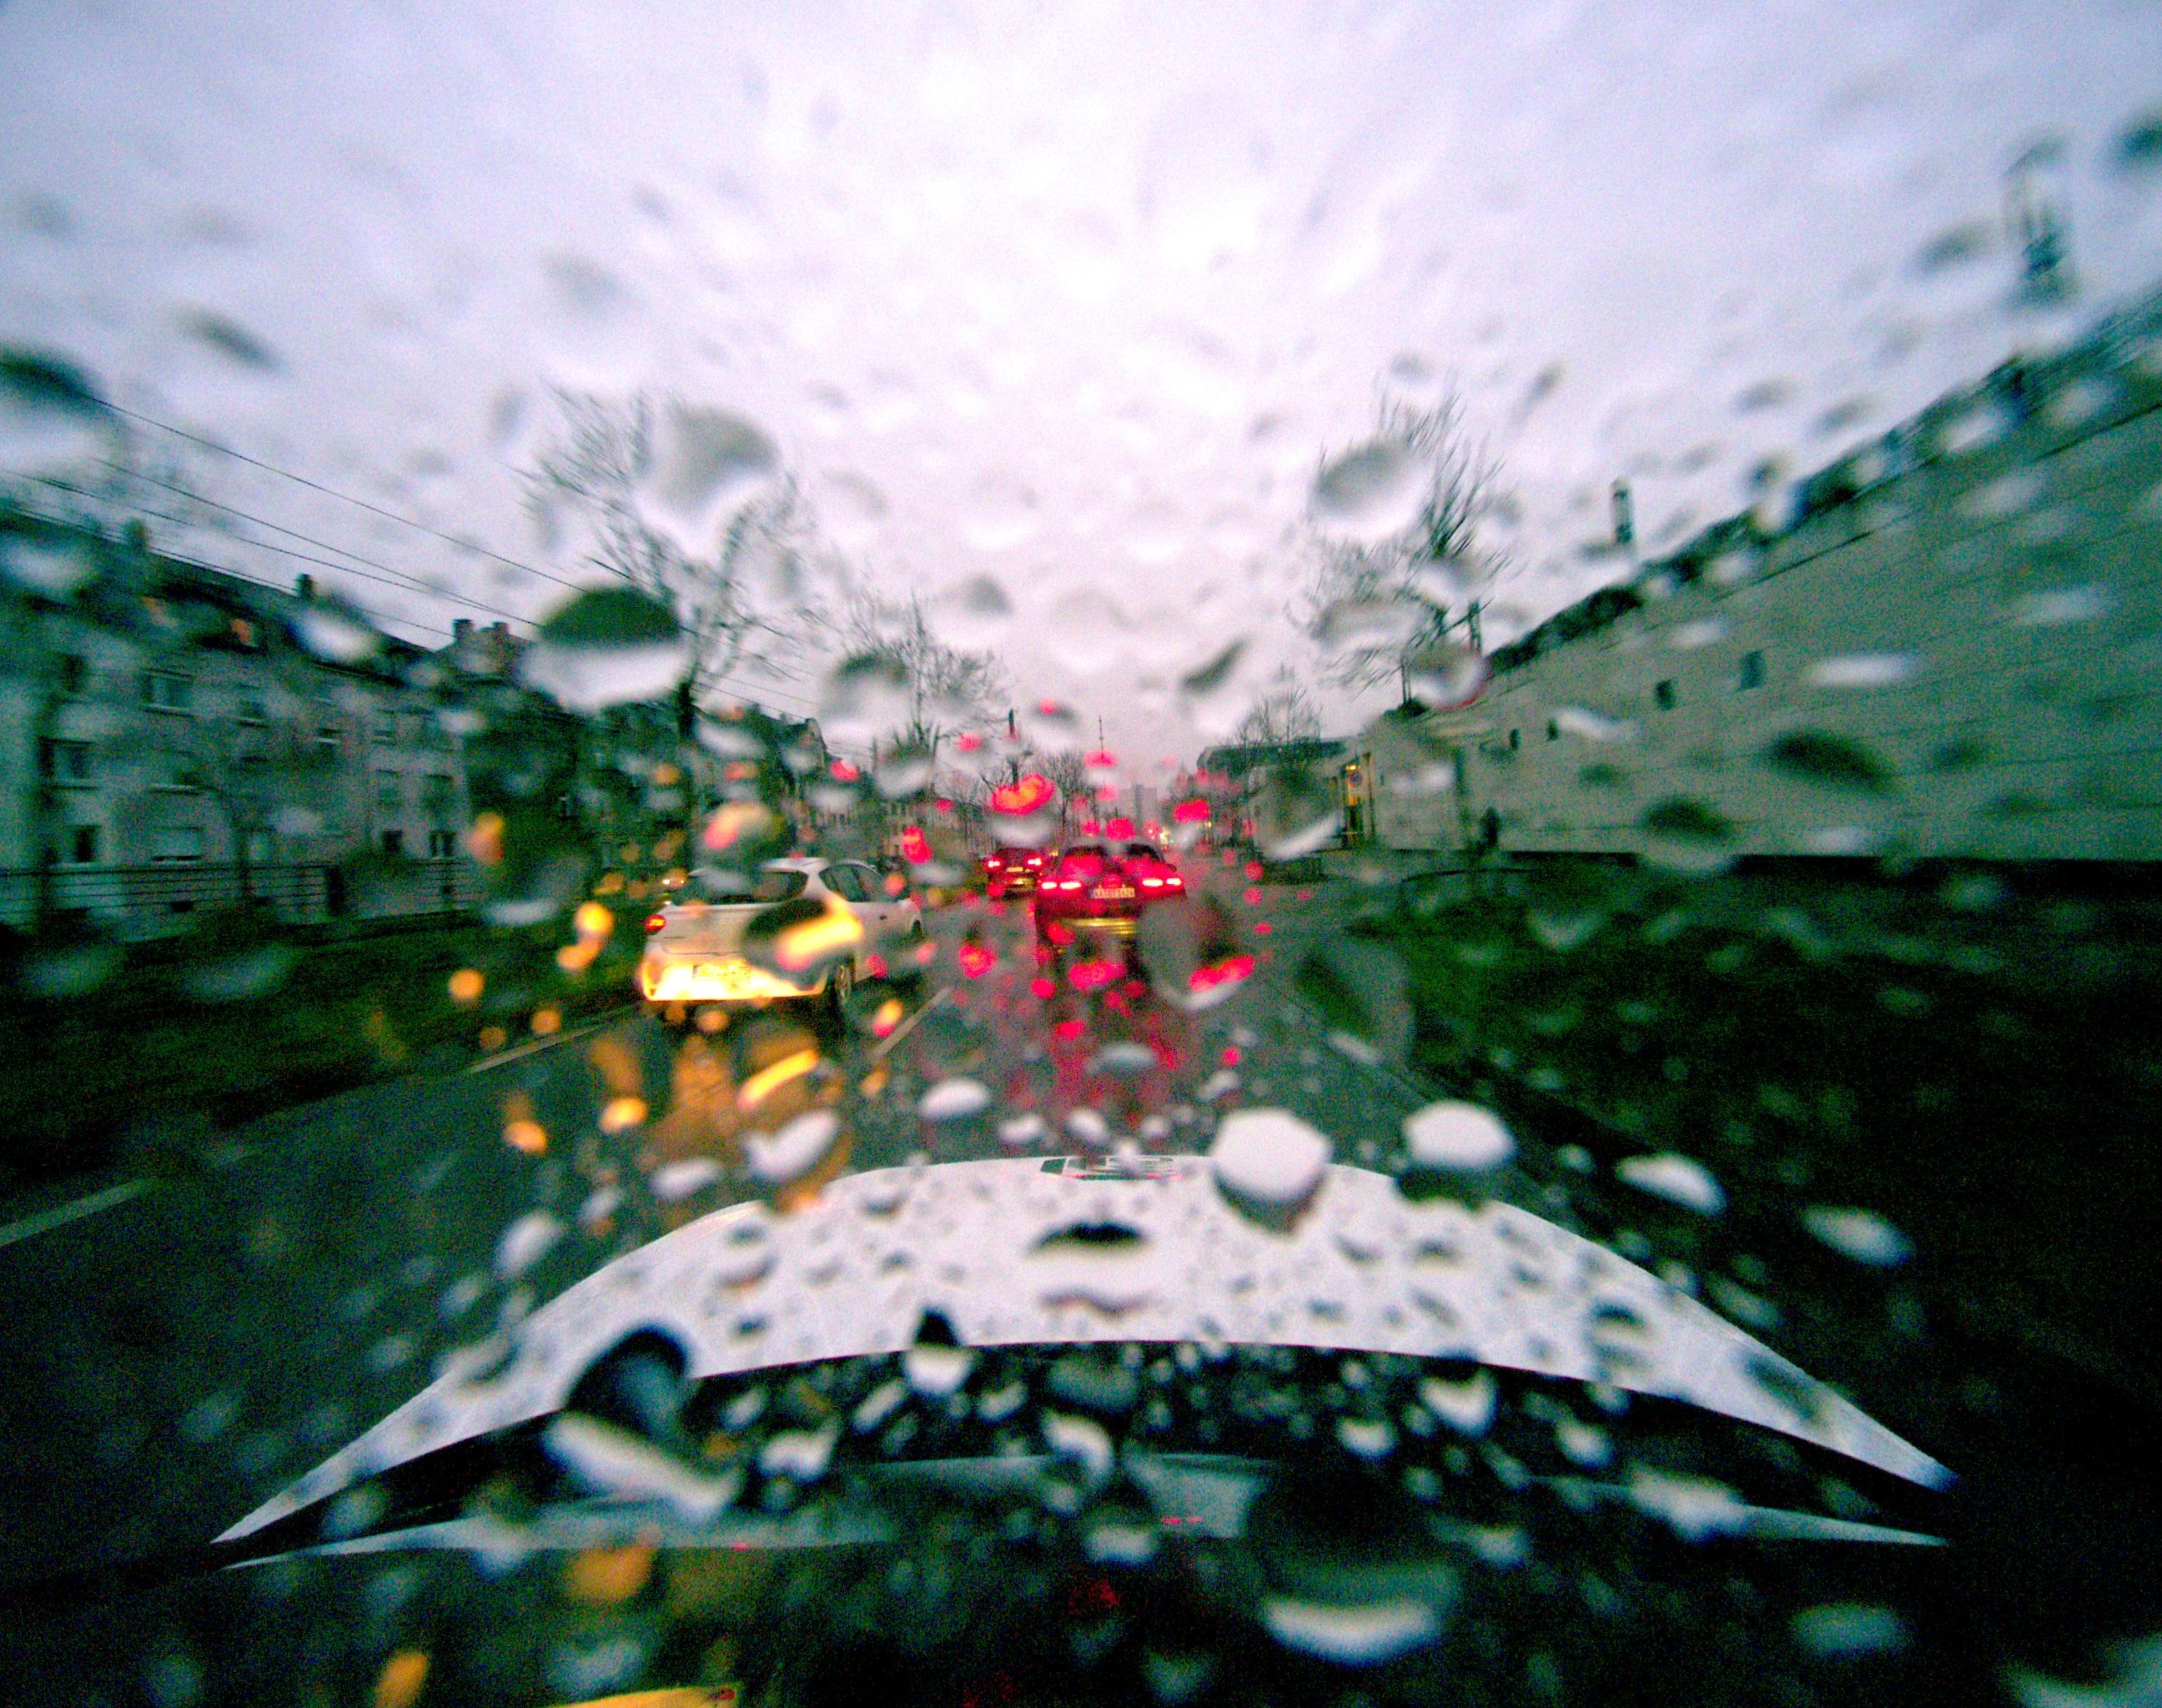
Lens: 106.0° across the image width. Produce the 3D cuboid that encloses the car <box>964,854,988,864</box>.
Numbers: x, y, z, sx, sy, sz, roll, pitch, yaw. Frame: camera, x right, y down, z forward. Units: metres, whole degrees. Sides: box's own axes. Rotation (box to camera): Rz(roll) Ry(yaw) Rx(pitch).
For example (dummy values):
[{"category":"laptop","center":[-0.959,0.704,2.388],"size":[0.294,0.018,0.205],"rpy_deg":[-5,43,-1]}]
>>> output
[{"category":"car","center":[-17.143,0.846,132.603],"size":[3.510,1.354,1.793],"rpy_deg":[-4,1,39]}]

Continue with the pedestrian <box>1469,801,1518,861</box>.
[{"category":"pedestrian","center":[11.708,-0.657,23.134],"size":[0.934,1.618,0.695],"rpy_deg":[-4,0,2]}]

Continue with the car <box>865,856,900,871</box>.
[{"category":"car","center":[-21.371,1.031,87.634],"size":[3.510,1.354,1.793],"rpy_deg":[-4,1,39]}]

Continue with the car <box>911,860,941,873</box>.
[{"category":"car","center":[-19.474,1.616,102.169],"size":[3.510,1.354,1.793],"rpy_deg":[-4,1,39]}]

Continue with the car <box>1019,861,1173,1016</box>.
[{"category":"car","center":[0.370,0.965,11.132],"size":[1.663,1.600,4.060],"rpy_deg":[-3,0,6]}]

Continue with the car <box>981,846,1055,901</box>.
[{"category":"car","center":[-1.979,0.568,26.860],"size":[1.663,1.600,4.060],"rpy_deg":[-3,0,6]}]

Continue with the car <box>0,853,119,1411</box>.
[{"category":"car","center":[-4.029,0.849,0.577],"size":[1.803,1.600,4.053],"rpy_deg":[-3,0,0]}]

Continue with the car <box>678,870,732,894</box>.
[{"category":"car","center":[-25.890,1.875,56.184],"size":[1.768,1.354,3.562],"rpy_deg":[-4,1,5]}]

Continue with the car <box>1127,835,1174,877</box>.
[{"category":"car","center":[3.258,0.068,37.760],"size":[1.983,1.743,4.007],"rpy_deg":[-4,0,6]}]

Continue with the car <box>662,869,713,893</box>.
[{"category":"car","center":[-29.565,1.972,61.275],"size":[1.768,1.500,3.562],"rpy_deg":[-4,1,5]}]

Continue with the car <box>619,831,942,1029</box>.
[{"category":"car","center":[-2.871,0.624,8.850],"size":[1.664,1.600,4.059],"rpy_deg":[-3,0,5]}]

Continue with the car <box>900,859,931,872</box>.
[{"category":"car","center":[-19.966,1.425,98.245],"size":[3.510,1.354,1.793],"rpy_deg":[-4,1,39]}]

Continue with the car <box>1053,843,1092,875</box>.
[{"category":"car","center":[-0.450,0.248,45.719],"size":[1.663,1.600,4.060],"rpy_deg":[-3,0,6]}]
